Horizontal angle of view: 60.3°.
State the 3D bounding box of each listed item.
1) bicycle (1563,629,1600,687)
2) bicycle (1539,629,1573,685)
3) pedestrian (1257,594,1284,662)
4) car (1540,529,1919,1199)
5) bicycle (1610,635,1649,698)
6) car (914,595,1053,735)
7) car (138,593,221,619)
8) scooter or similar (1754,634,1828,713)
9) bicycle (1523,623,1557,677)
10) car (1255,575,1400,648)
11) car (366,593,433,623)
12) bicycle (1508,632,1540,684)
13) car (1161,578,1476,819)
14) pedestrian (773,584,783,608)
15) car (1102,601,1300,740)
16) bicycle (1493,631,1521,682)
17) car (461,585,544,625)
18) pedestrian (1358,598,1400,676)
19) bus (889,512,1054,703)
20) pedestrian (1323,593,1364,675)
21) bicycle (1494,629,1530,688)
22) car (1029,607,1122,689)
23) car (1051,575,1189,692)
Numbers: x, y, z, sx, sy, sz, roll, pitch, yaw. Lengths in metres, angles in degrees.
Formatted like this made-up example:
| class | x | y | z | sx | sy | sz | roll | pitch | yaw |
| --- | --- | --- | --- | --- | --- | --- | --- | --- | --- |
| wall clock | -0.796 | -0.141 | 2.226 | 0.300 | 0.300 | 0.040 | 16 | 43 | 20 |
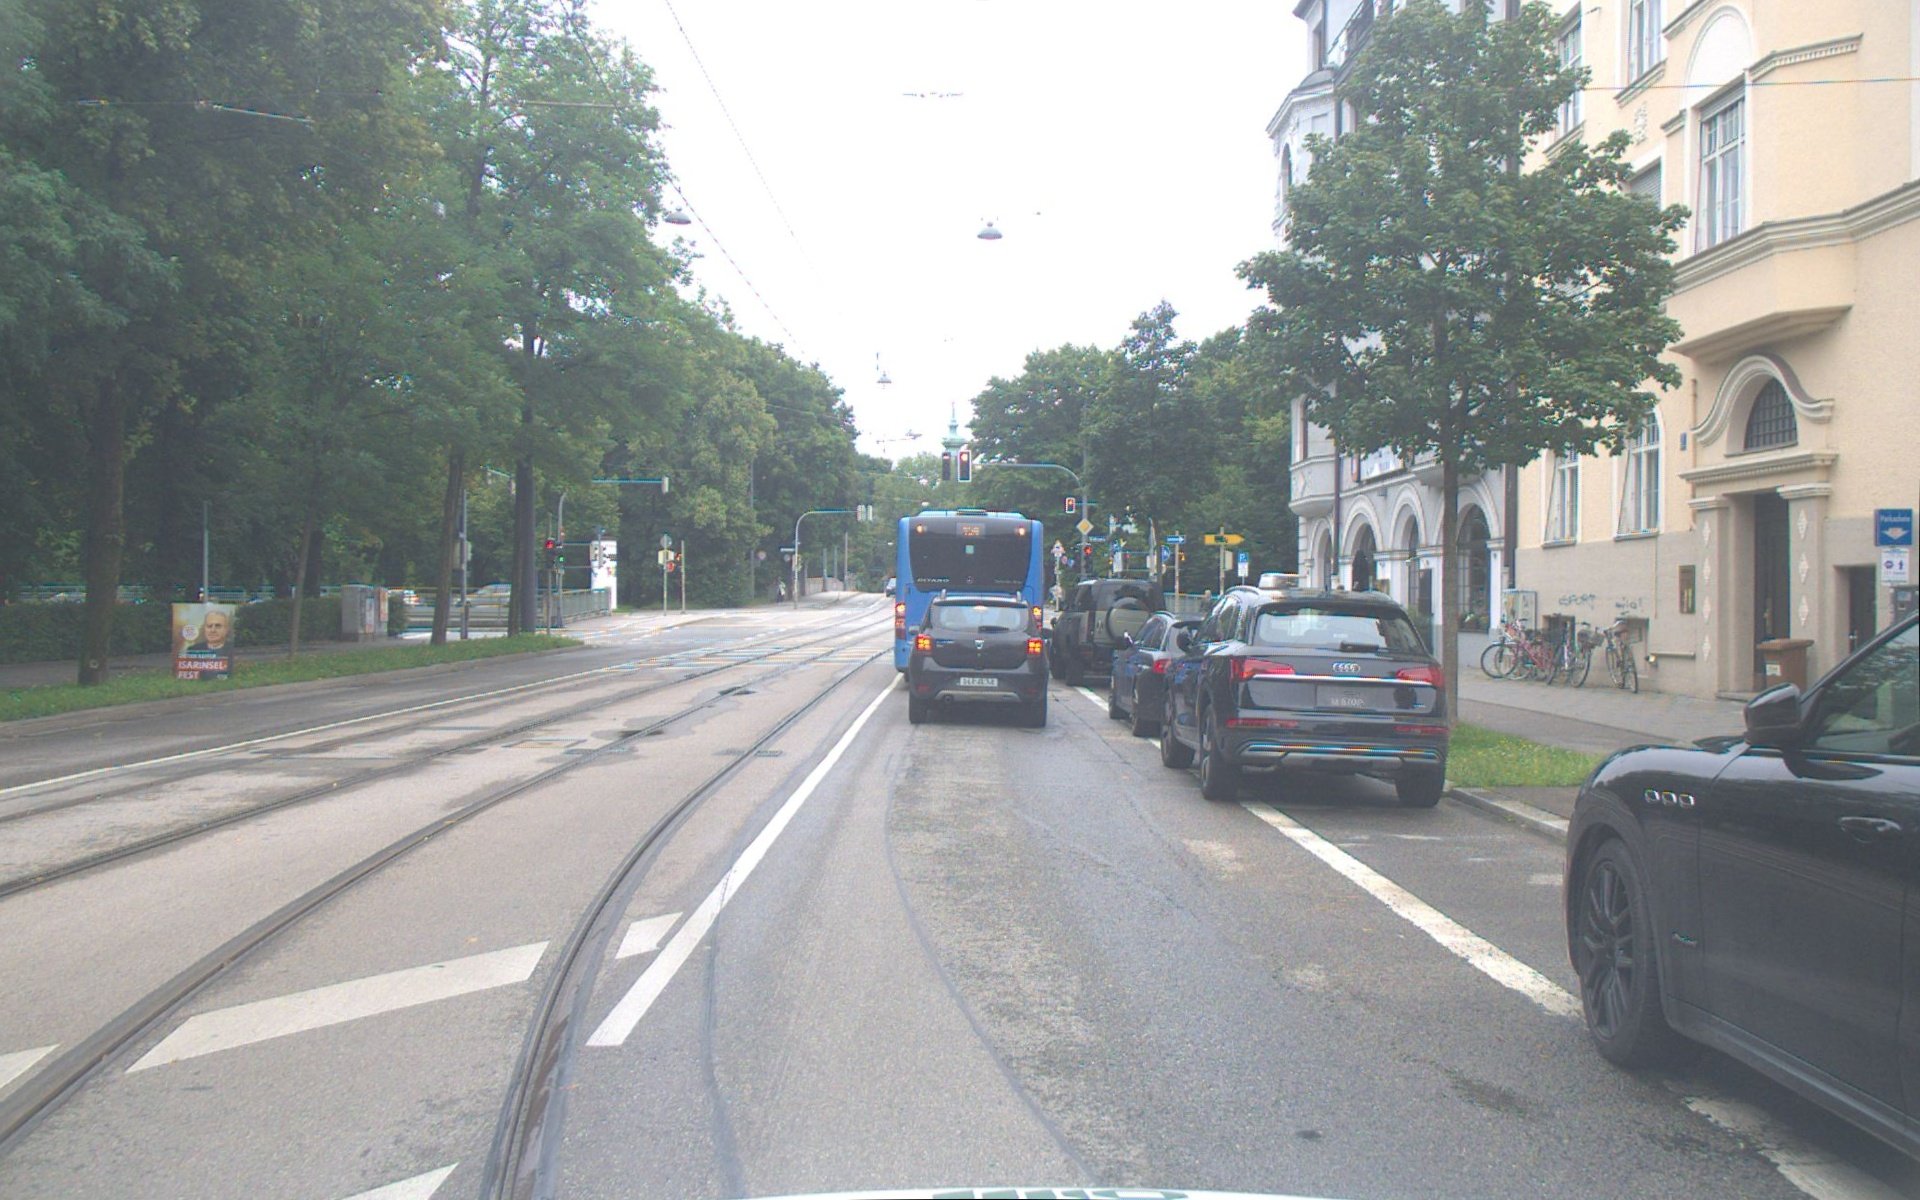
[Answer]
| class | x | y | z | sx | sy | sz | roll | pitch | yaw |
| --- | --- | --- | --- | --- | --- | --- | --- | --- | --- |
| bicycle | 10.454 | 0.964 | 27.852 | 0.279 | 0.947 | 0.886 | 2 | -1 | 1 |
| bicycle | 10.510 | 0.995 | 29.188 | 0.267 | 0.947 | 0.886 | 2 | -1 | 1 |
| pedestrian | 9.425 | 0.852 | 50.263 | 0.659 | 2.049 | 0.716 | 2 | -1 | 2 |
| car | 3.060 | 0.693 | 3.723 | 1.862 | 1.638 | 4.665 | 2 | 0 | 0 |
| bicycle | 10.500 | 1.031 | 25.954 | 0.217 | 0.947 | 0.885 | 2 | -1 | -1 |
| car | 0.262 | 0.773 | 21.076 | 1.568 | 1.584 | 3.524 | 2 | -1 | -1 |
| car | -40.664 | 0.319 | 86.255 | 3.655 | 1.206 | 1.249 | 2 | -1 | -5 |
| scooter or similar | 10.611 | 0.933 | 21.137 | 0.648 | 0.963 | 0.547 | 2 | -1 | 1 |
| bicycle | 10.573 | 0.906 | 30.159 | 0.299 | 0.947 | 0.886 | 2 | -1 | 2 |
| car | 14.589 | 0.470 | 65.880 | 5.190 | 2.658 | 2.229 | 2 | -1 | -3 |
| car | -29.562 | 0.423 | 87.256 | 3.049 | 1.477 | 1.249 | 2 | -1 | -5 |
| bicycle | 10.600 | 1.092 | 31.117 | 0.285 | 0.947 | 0.886 | 2 | -1 | 1 |
| car | 2.863 | 0.730 | 14.183 | 1.738 | 1.687 | 4.487 | 2 | -1 | 1 |
| pedestrian | -11.647 | -0.271 | 105.792 | 0.520 | 1.527 | 0.588 | 2 | -1 | 4 |
| car | 2.829 | 0.788 | 20.342 | 1.681 | 1.451 | 4.601 | 2 | -1 | 0 |
| bicycle | 10.599 | 1.088 | 32.055 | 0.254 | 0.947 | 0.886 | 2 | -1 | 1 |
| car | -24.258 | 0.270 | 87.761 | 3.945 | 1.920 | 1.488 | 2 | -1 | -7 |
| pedestrian | 9.712 | 0.862 | 38.360 | 0.690 | 1.762 | 0.843 | 2 | -1 | 0 |
| bus | 0.095 | 0.153 | 30.715 | 2.625 | 3.050 | 6.958 | 2 | -1 | -2 |
| pedestrian | 8.902 | 0.788 | 38.382 | 0.690 | 1.848 | 0.870 | 2 | -1 | 0 |
| bicycle | 10.184 | 1.069 | 30.528 | 0.237 | 1.057 | 1.223 | 2 | -1 | 0 |
| car | 2.463 | 1.010 | 36.121 | 1.679 | 1.619 | 4.327 | 2 | -1 | 0 |
| car | 2.882 | 0.599 | 30.827 | 1.875 | 1.939 | 4.806 | 2 | -1 | -2 |
